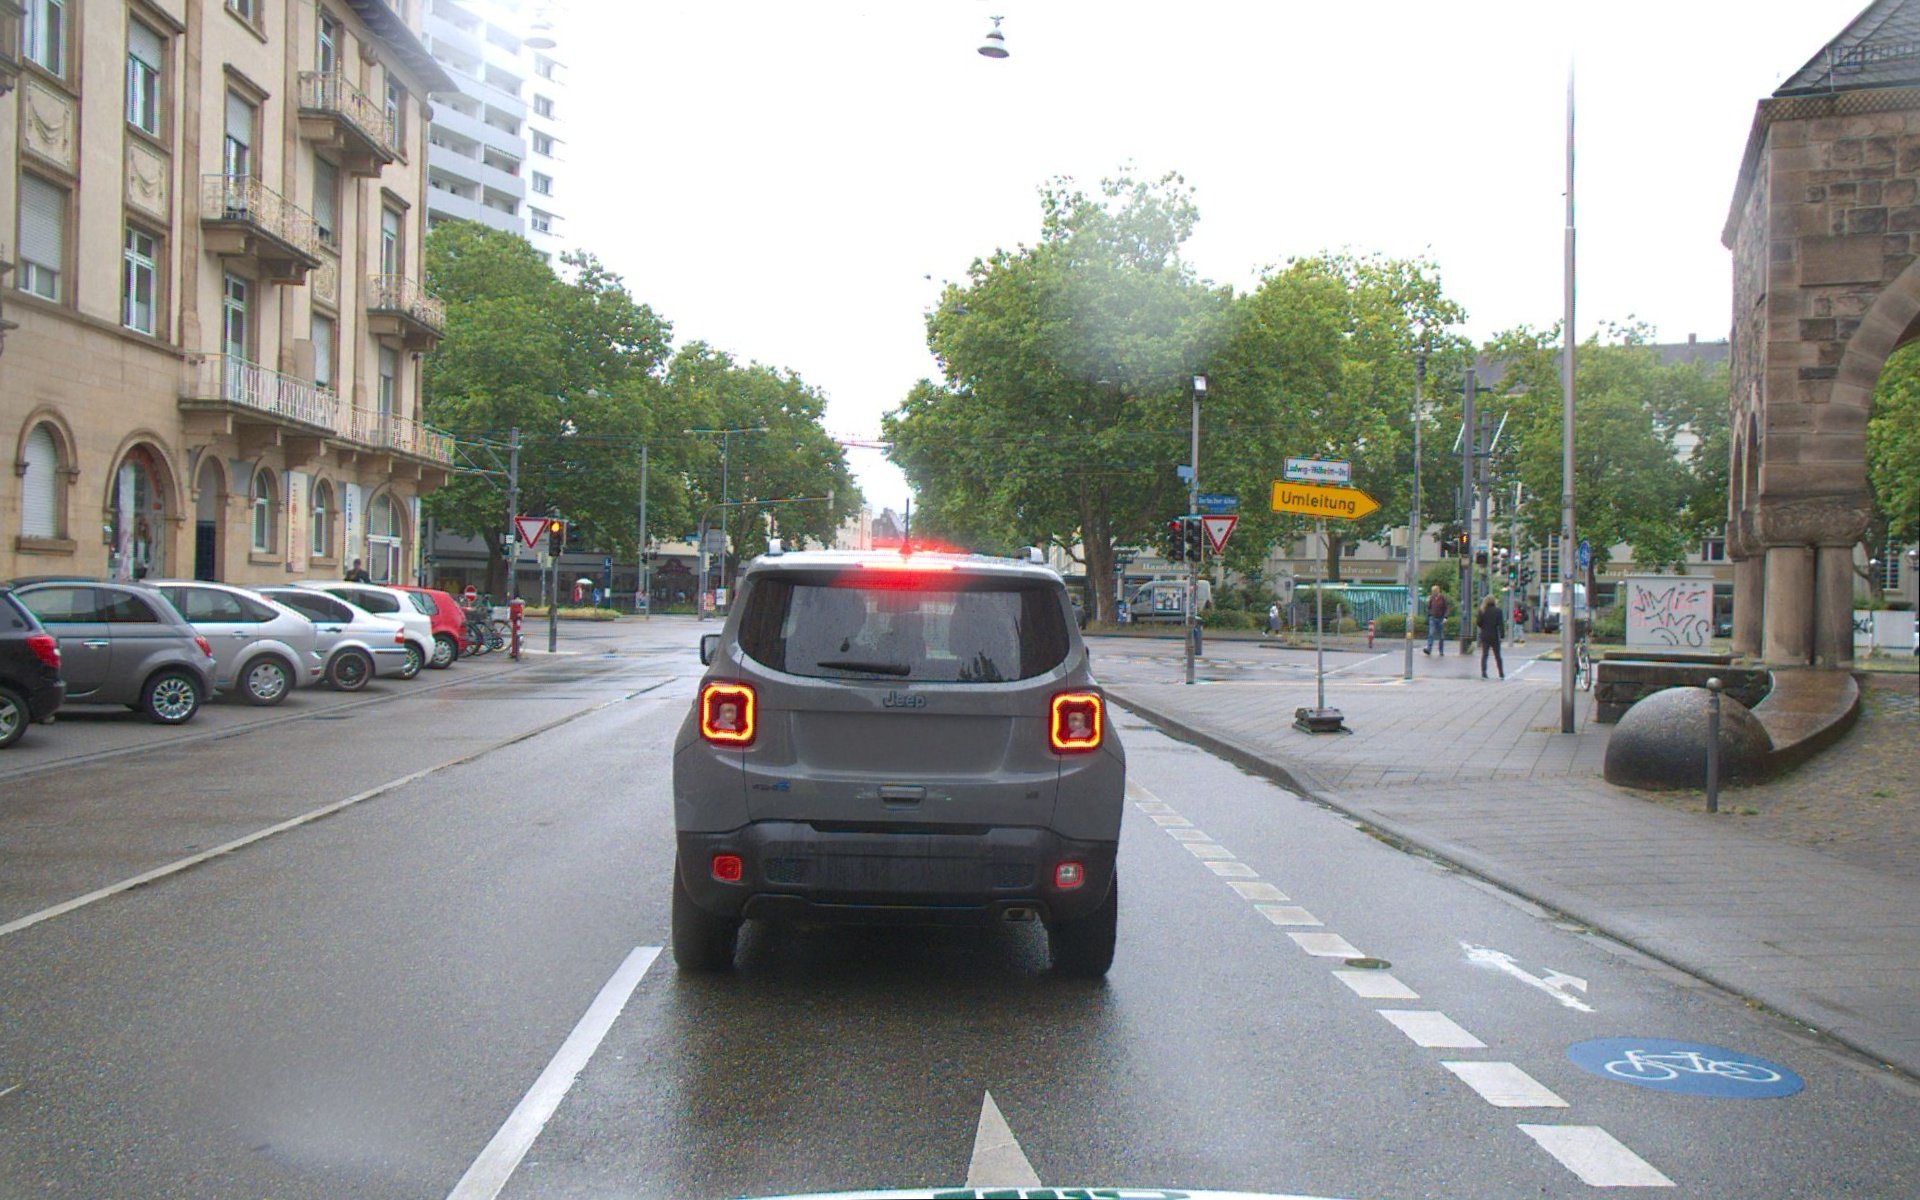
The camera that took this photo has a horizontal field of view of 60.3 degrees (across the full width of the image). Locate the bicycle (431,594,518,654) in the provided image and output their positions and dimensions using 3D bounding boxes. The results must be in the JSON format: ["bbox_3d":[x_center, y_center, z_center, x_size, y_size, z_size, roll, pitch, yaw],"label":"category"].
[{"bbox_3d":[-10.766,0.529,36.693,1.728,1.288,0.608,1,0,-3],"label":"bicycle"}]

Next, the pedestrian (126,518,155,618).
[{"bbox_3d":[-15.249,-0.595,30.764,0.359,1.854,0.347,0,-1,-3],"label":"pedestrian"}]

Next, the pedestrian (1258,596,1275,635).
[{"bbox_3d":[12.974,0.645,69.987,0.600,1.631,0.494,1,0,23],"label":"pedestrian"}]

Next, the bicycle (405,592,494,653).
[{"bbox_3d":[-11.052,0.484,35.811,1.728,1.288,0.608,1,0,-3],"label":"bicycle"}]

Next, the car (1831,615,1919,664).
[{"bbox_3d":[31.361,1.318,55.808,3.368,1.579,1.592,1,0,25],"label":"car"}]

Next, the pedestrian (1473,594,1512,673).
[{"bbox_3d":[11.475,0.712,35.658,0.766,1.674,0.655,0,0,21],"label":"pedestrian"}]

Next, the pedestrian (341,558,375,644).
[{"bbox_3d":[-14.618,0.025,40.153,0.556,2.049,0.654,1,0,-1],"label":"pedestrian"}]

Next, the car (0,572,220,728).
[{"bbox_3d":[-9.964,0.501,17.760,3.371,1.585,1.629,1,0,-40],"label":"car"}]

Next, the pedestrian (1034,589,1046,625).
[{"bbox_3d":[4.577,0.376,94.547,0.637,2.049,0.483,1,0,11],"label":"pedestrian"}]

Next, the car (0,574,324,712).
[{"bbox_3d":[-9.974,0.506,20.768,3.371,1.585,1.681,1,0,-40],"label":"car"}]

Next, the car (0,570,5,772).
[{"bbox_3d":[-9.600,0.525,11.860,4.513,1.572,1.661,1,0,-44],"label":"car"}]

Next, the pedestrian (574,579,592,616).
[{"bbox_3d":[-19.097,-0.129,83.851,0.677,1.858,0.621,0,0,15],"label":"pedestrian"}]

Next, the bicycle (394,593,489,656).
[{"bbox_3d":[-10.682,0.503,34.103,1.774,1.288,0.498,1,0,-3],"label":"bicycle"}]

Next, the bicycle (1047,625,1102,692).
[{"bbox_3d":[1.944,0.981,28.379,0.678,1.039,2.657,0,0,-2],"label":"bicycle"}]

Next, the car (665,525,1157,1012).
[{"bbox_3d":[-0.224,0.582,7.777,1.739,1.716,3.847,0,0,-2],"label":"car"}]

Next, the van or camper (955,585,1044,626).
[{"bbox_3d":[3.008,0.410,126.430,6.398,2.963,2.492,1,0,26],"label":"van or camper"}]

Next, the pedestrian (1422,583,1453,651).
[{"bbox_3d":[12.795,0.453,44.331,0.769,1.790,0.946,0,0,14],"label":"pedestrian"}]

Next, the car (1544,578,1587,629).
[{"bbox_3d":[31.496,0.181,85.945,1.868,2.600,4.786,1,0,23],"label":"car"}]

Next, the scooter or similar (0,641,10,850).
[{"bbox_3d":[-5.781,0.833,8.814,0.687,1.185,1.384,0,0,-3],"label":"scooter or similar"}]

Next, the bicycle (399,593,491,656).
[{"bbox_3d":[-10.820,0.507,34.785,1.774,1.288,0.498,1,0,-3],"label":"bicycle"}]

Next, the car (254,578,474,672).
[{"bbox_3d":[-10.718,0.438,29.814,3.371,1.585,1.681,1,0,-40],"label":"car"}]

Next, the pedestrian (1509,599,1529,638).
[{"bbox_3d":[22.850,0.754,67.599,0.660,1.581,0.761,1,-2,27],"label":"pedestrian"}]

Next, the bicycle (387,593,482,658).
[{"bbox_3d":[-10.656,0.513,33.557,1.728,1.288,0.522,1,0,-3],"label":"bicycle"}]

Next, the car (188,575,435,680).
[{"bbox_3d":[-10.460,0.428,26.759,3.371,1.585,1.681,1,0,-40],"label":"car"}]

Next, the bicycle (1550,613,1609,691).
[{"bbox_3d":[9.948,0.810,26.605,0.322,1.174,2.076,1,0,4],"label":"bicycle"}]

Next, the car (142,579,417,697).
[{"bbox_3d":[-9.867,0.519,24.071,3.371,1.585,1.681,1,0,-40],"label":"car"}]

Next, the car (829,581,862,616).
[{"bbox_3d":[-6.019,-0.109,86.715,1.688,1.769,3.726,1,0,-5],"label":"car"}]

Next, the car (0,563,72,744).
[{"bbox_3d":[-10.028,0.461,14.706,3.521,1.626,1.582,1,0,-40],"label":"car"}]

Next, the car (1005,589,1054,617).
[{"bbox_3d":[5.096,0.239,121.395,3.363,2.049,1.549,0,-1,13],"label":"car"}]

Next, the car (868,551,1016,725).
[{"bbox_3d":[-0.247,0.442,21.644,1.734,2.049,3.999,1,0,-1],"label":"car"}]

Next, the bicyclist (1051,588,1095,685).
[{"bbox_3d":[1.946,0.612,28.463,0.673,1.646,0.883,0,0,-2],"label":"bicyclist"}]

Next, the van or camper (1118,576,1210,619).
[{"bbox_3d":[11.913,-0.174,96.675,5.149,2.356,2.091,2,0,3],"label":"van or camper"}]
